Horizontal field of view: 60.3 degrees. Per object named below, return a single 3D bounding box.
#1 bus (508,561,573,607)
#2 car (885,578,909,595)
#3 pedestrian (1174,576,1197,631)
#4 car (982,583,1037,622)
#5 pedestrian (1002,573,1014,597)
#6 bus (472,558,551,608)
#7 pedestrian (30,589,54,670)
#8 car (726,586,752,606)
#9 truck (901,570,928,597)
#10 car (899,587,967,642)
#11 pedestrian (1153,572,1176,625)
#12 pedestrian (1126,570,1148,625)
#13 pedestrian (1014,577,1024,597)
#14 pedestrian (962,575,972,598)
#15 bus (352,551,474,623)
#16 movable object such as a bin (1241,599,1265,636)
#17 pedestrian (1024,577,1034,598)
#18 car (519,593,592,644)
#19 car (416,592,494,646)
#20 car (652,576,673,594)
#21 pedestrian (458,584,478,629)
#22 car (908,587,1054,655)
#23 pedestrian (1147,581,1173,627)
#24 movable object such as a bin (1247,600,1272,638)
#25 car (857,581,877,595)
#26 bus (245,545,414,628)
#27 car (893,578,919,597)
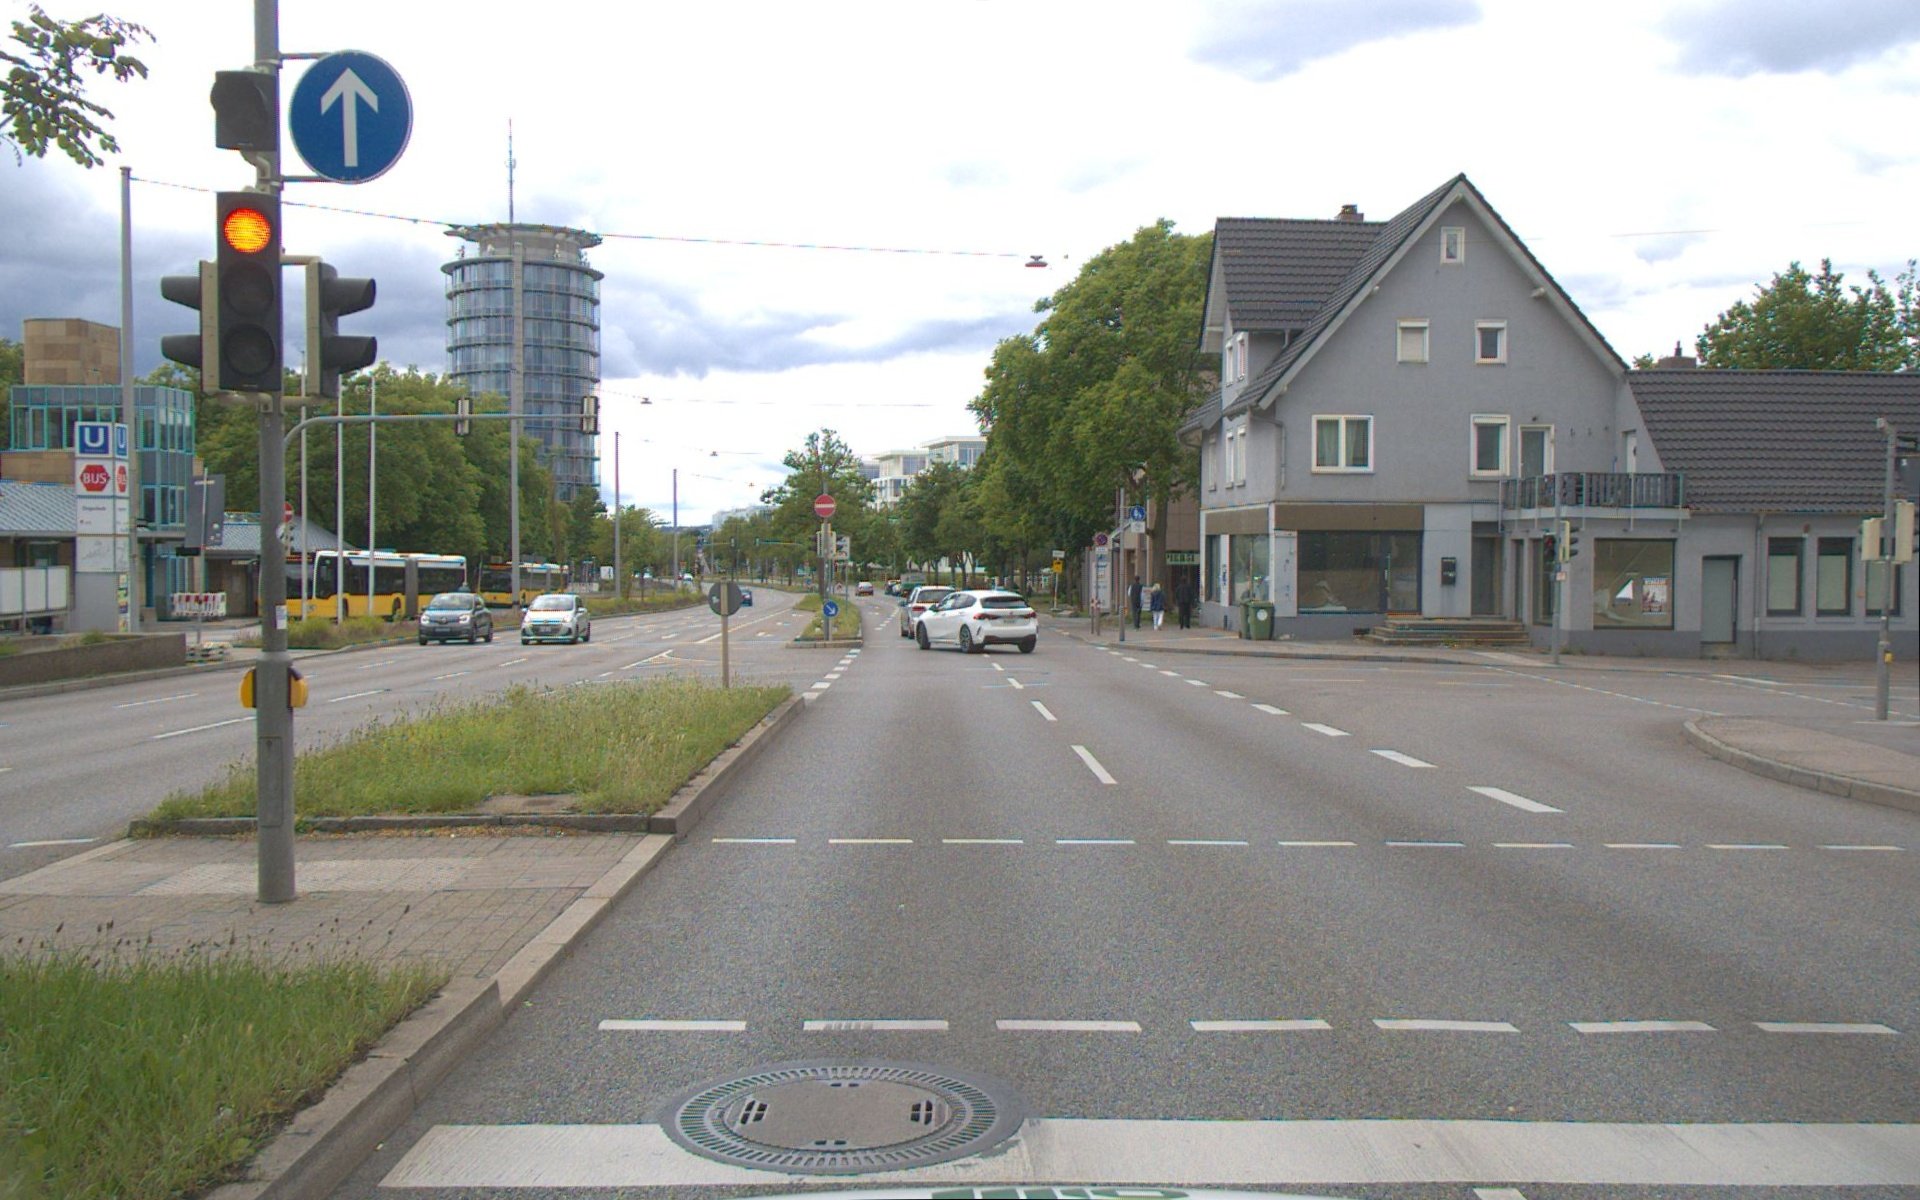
[{"bbox_3d":[-31.146,-1.138,123.014,3.081,3.281,7.762,0,0,-2],"label":"bus"},{"bbox_3d":[-6.602,-1.399,173.784,2.207,1.676,4.927,0,0,-6],"label":"car"},{"bbox_3d":[7.451,0.126,54.658,0.690,1.791,1.053,0,0,6],"label":"pedestrian"},{"bbox_3d":[1.982,0.119,67.677,1.852,1.521,4.095,-1,0,-4],"label":"car"},{"bbox_3d":[4.187,-1.308,145.052,0.951,2.049,0.981,1,-1,-2],"label":"pedestrian"},{"bbox_3d":[-30.784,-1.122,114.015,3.082,3.281,10.279,0,0,-3],"label":"bus"},{"bbox_3d":[-18.365,0.583,33.095,0.414,1.619,0.353,0,0,-30],"label":"pedestrian"},{"bbox_3d":[-17.391,-0.325,130.064,1.668,1.518,3.561,-1,0,-2],"label":"car"},{"bbox_3d":[-4.348,-1.543,156.430,2.207,2.459,4.927,0,0,-5],"label":"truck"},{"bbox_3d":[-0.869,0.420,51.183,1.787,1.567,4.110,2,0,-5],"label":"car"},{"bbox_3d":[7.149,-0.049,57.776,0.690,1.811,0.871,0,0,15],"label":"pedestrian"},{"bbox_3d":[5.943,-0.079,55.637,0.690,1.811,0.871,-1,0,5],"label":"pedestrian"},{"bbox_3d":[4.621,-1.004,129.799,0.638,1.597,0.669,0,0,-9],"label":"pedestrian"},{"bbox_3d":[0.739,-1.445,173.144,0.914,2.349,1.008,1,-1,-10],"label":"pedestrian"},{"bbox_3d":[-26.544,-0.616,80.722,2.927,3.327,7.879,-1,0,3],"label":"bus"},{"bbox_3d":[7.969,0.467,44.956,0.518,0.997,0.736,0,0,-1],"label":"movable object such as a bin"},{"bbox_3d":[5.397,-0.995,129.900,0.638,1.597,0.669,0,0,-9],"label":"pedestrian"},{"bbox_3d":[-12.363,0.548,50.730,1.651,1.488,3.552,0,0,-5],"label":"car"},{"bbox_3d":[-15.471,0.563,50.818,1.652,1.606,3.344,0,0,-6],"label":"car"},{"bbox_3d":[-35.907,-1.840,199.746,1.925,2.049,3.999,1,0,-1],"label":"car"},{"bbox_3d":[-21.119,0.266,70.997,0.647,1.930,0.686,0,0,1],"label":"pedestrian"},{"bbox_3d":[0.449,0.472,40.723,1.968,1.503,4.222,0,1,-25],"label":"car"},{"bbox_3d":[6.630,0.127,54.860,0.690,1.533,0.871,0,0,17],"label":"pedestrian"},{"bbox_3d":[8.000,0.494,44.166,0.518,0.997,0.736,0,0,-1],"label":"movable object such as a bin"},{"bbox_3d":[-9.720,-1.269,173.027,1.929,1.444,4.017,0,0,-6],"label":"car"},{"bbox_3d":[-27.081,-0.563,71.697,2.927,3.307,10.174,-1,0,3],"label":"bus"},{"bbox_3d":[-5.401,-1.252,165.007,2.207,1.787,4.927,0,0,-5],"label":"car"}]
